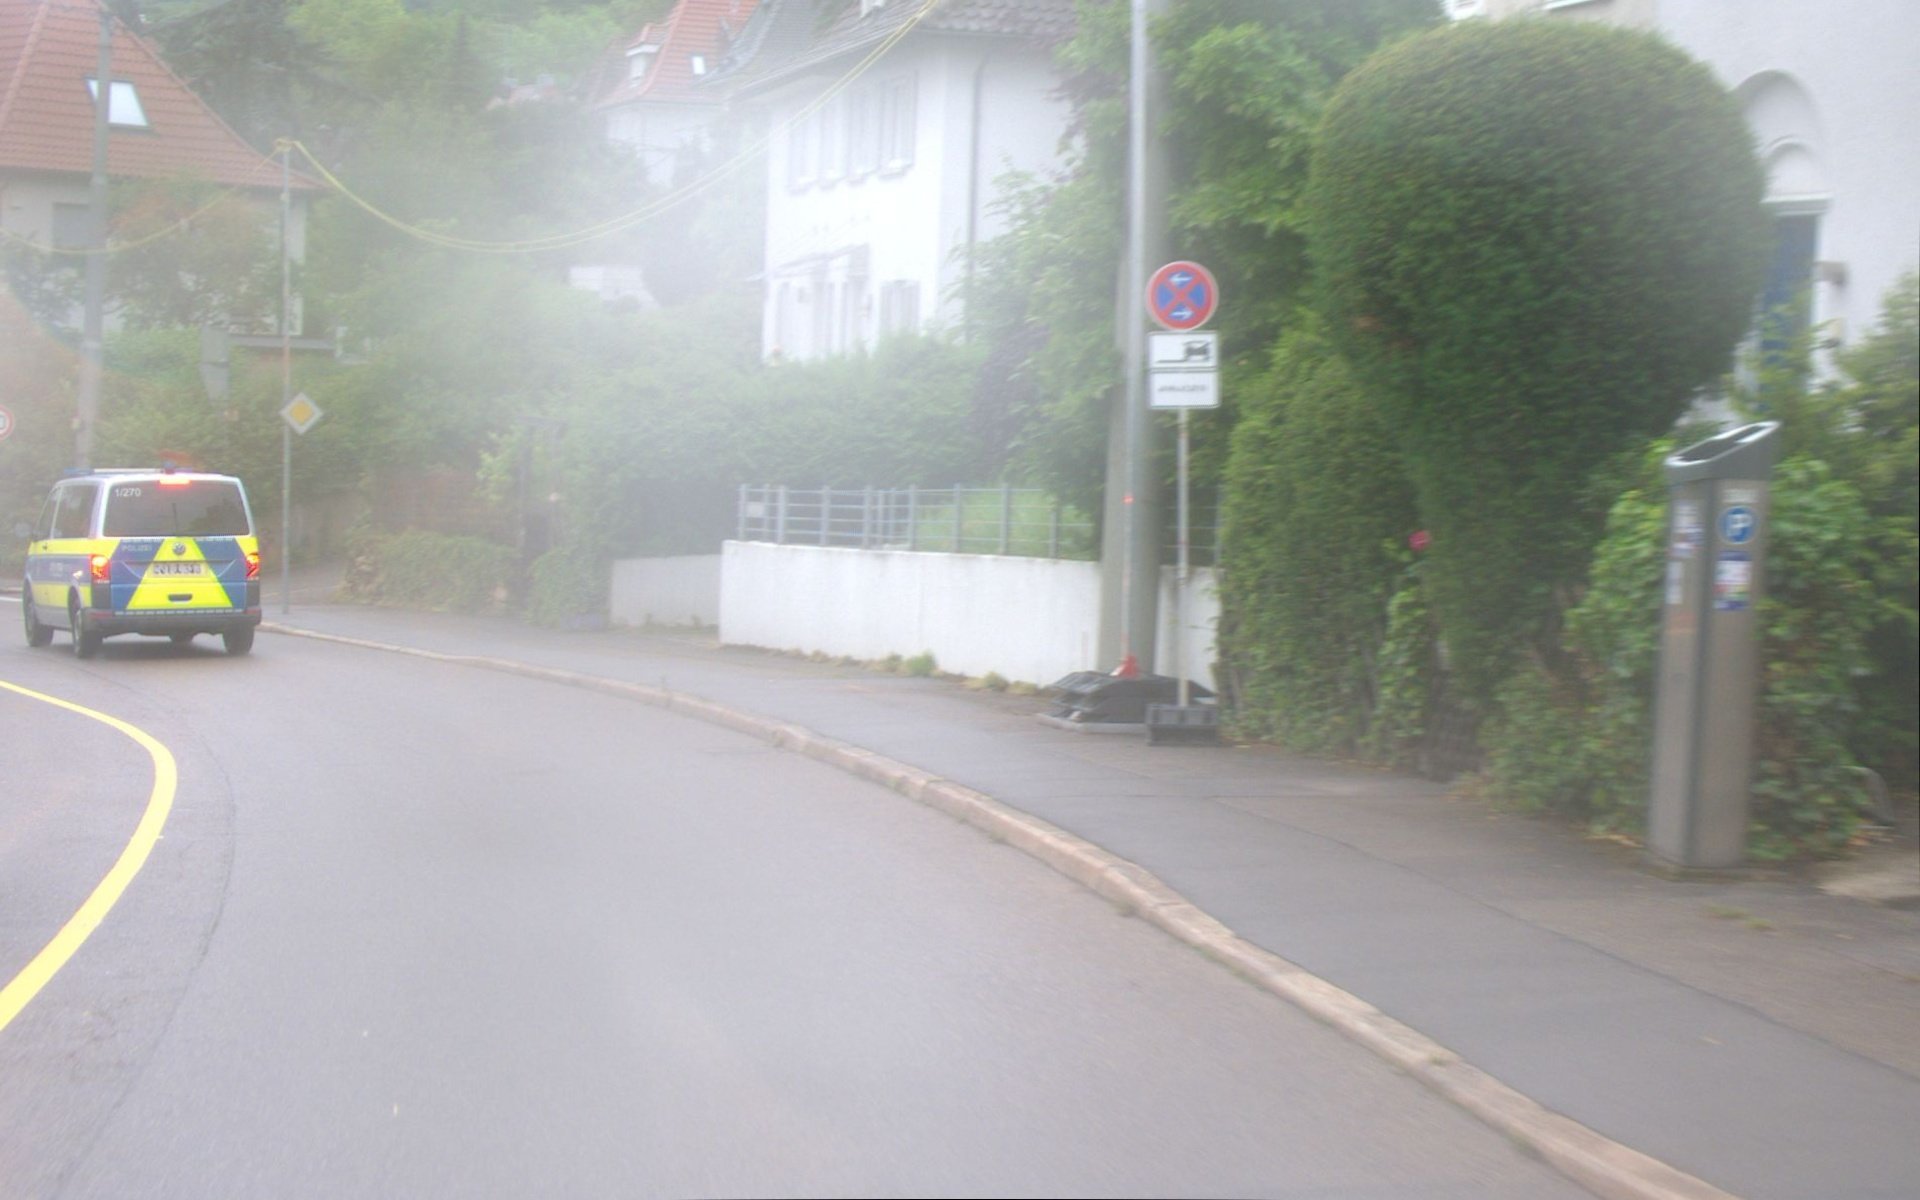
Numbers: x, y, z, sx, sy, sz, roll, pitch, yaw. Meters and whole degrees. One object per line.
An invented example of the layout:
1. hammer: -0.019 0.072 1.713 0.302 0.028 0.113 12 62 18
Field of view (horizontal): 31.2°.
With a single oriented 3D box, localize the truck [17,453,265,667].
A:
1. truck: -9.042 -0.519 37.696 1.993 2.006 4.737 -1 5 -21
